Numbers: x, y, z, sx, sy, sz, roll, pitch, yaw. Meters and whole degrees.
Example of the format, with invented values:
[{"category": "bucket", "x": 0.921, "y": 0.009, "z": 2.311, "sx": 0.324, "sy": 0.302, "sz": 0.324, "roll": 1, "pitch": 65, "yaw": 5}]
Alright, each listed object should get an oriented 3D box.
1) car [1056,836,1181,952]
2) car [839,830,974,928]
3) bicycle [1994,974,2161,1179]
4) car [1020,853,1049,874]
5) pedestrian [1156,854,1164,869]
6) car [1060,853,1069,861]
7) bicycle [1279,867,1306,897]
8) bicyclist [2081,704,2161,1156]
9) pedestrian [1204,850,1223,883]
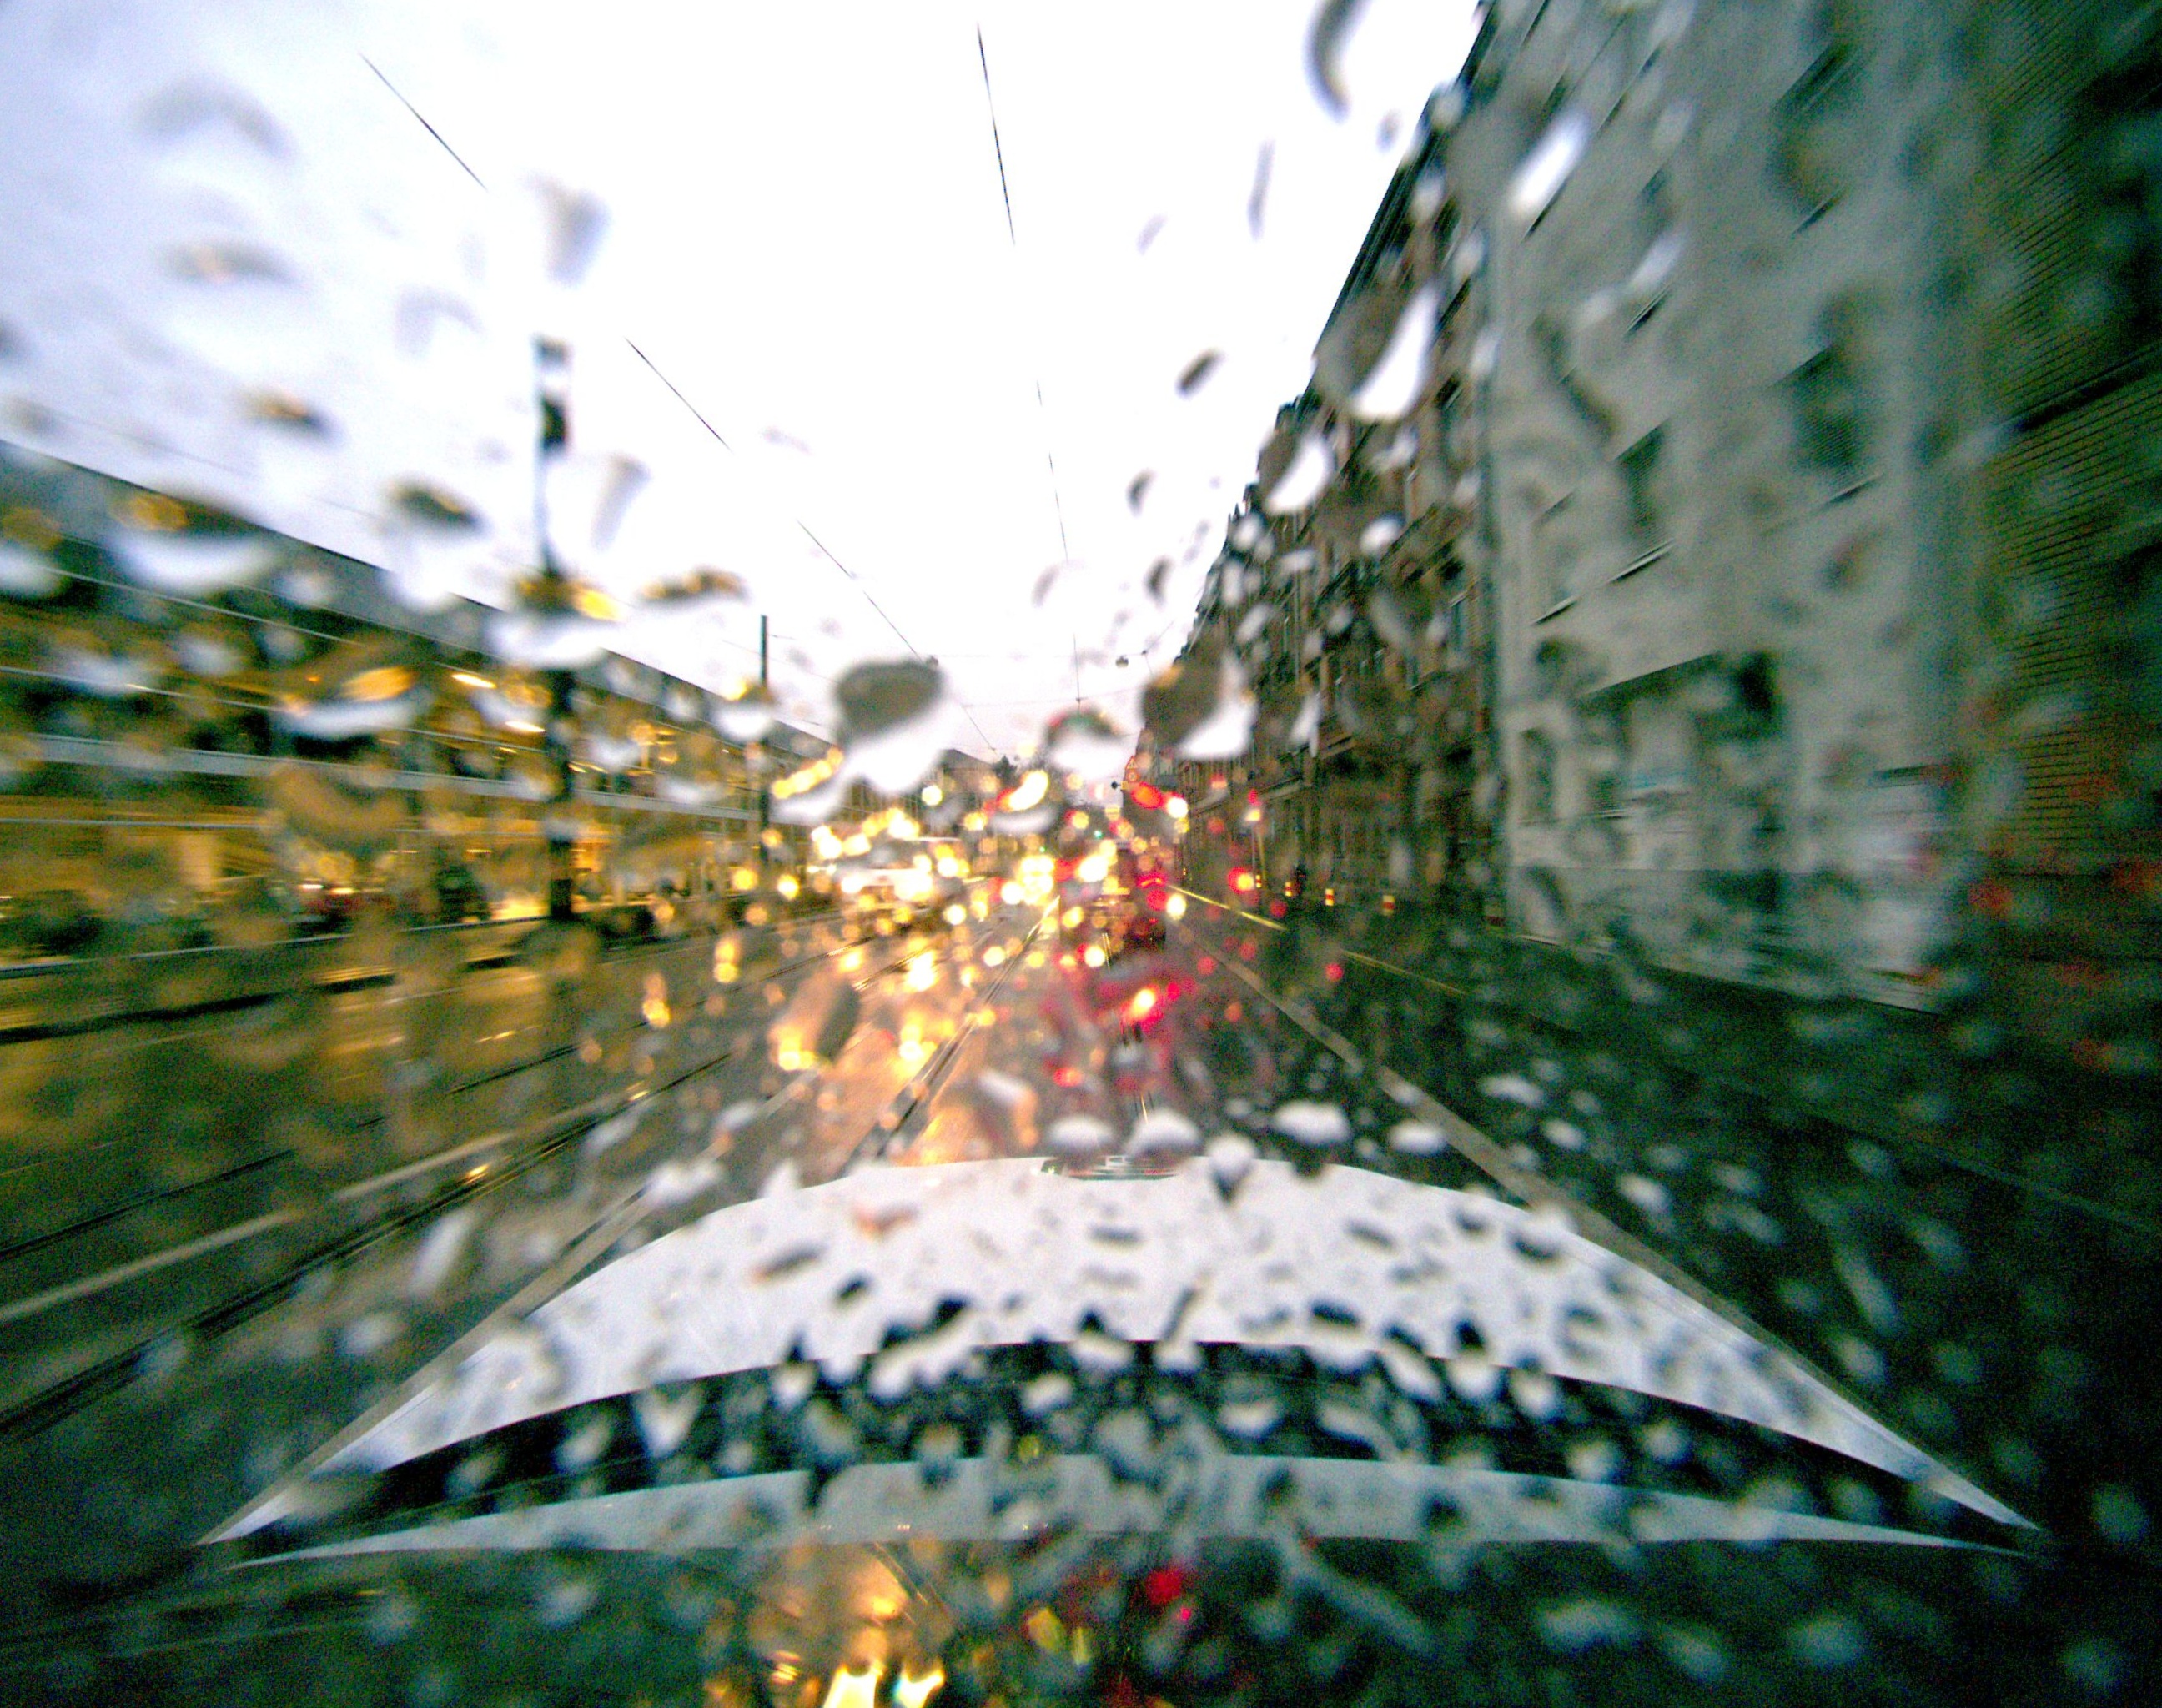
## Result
[{"category": "car", "x": 0.722, "y": 0.648, "z": 15.127, "sx": 1.985, "sy": 1.842, "sz": 4.004, "roll": -1, "pitch": 0, "yaw": 3}, {"category": "car", "x": -3.896, "y": 0.540, "z": 19.096, "sx": 1.986, "sy": 2.014, "sz": 4.687, "roll": 0, "pitch": -1, "yaw": 2}, {"category": "bicycle", "x": 4.851, "y": 0.980, "z": 3.112, "sx": 0.606, "sy": 0.761, "sz": 1.860, "roll": -1, "pitch": 0, "yaw": -1}, {"category": "car", "x": -3.735, "y": 0.757, "z": 66.136, "sx": 1.834, "sy": 1.578, "sz": 4.444, "roll": -1, "pitch": 0, "yaw": 2}, {"category": "pedestrian", "x": 7.170, "y": 0.669, "z": 73.809, "sx": 0.598, "sy": 1.377, "sz": 0.728, "roll": 0, "pitch": -1, "yaw": 0}, {"category": "car", "x": -3.570, "y": 0.679, "z": 179.194, "sx": 1.869, "sy": 1.710, "sz": 4.759, "roll": -2, "pitch": 0, "yaw": 0}, {"category": "bicycle", "x": 6.882, "y": 0.894, "z": 26.594, "sx": 0.396, "sy": 0.911, "sz": 1.866, "roll": -1, "pitch": 0, "yaw": 1}, {"category": "bicyclist", "x": 4.868, "y": 0.309, "z": 3.081, "sx": 0.743, "sy": 1.880, "sz": 1.111, "roll": -1, "pitch": -1, "yaw": -2}, {"category": "pedestrian", "x": 6.476, "y": 0.608, "z": 39.900, "sx": 0.783, "sy": 1.597, "sz": 0.742, "roll": -1, "pitch": 0, "yaw": 1}]
